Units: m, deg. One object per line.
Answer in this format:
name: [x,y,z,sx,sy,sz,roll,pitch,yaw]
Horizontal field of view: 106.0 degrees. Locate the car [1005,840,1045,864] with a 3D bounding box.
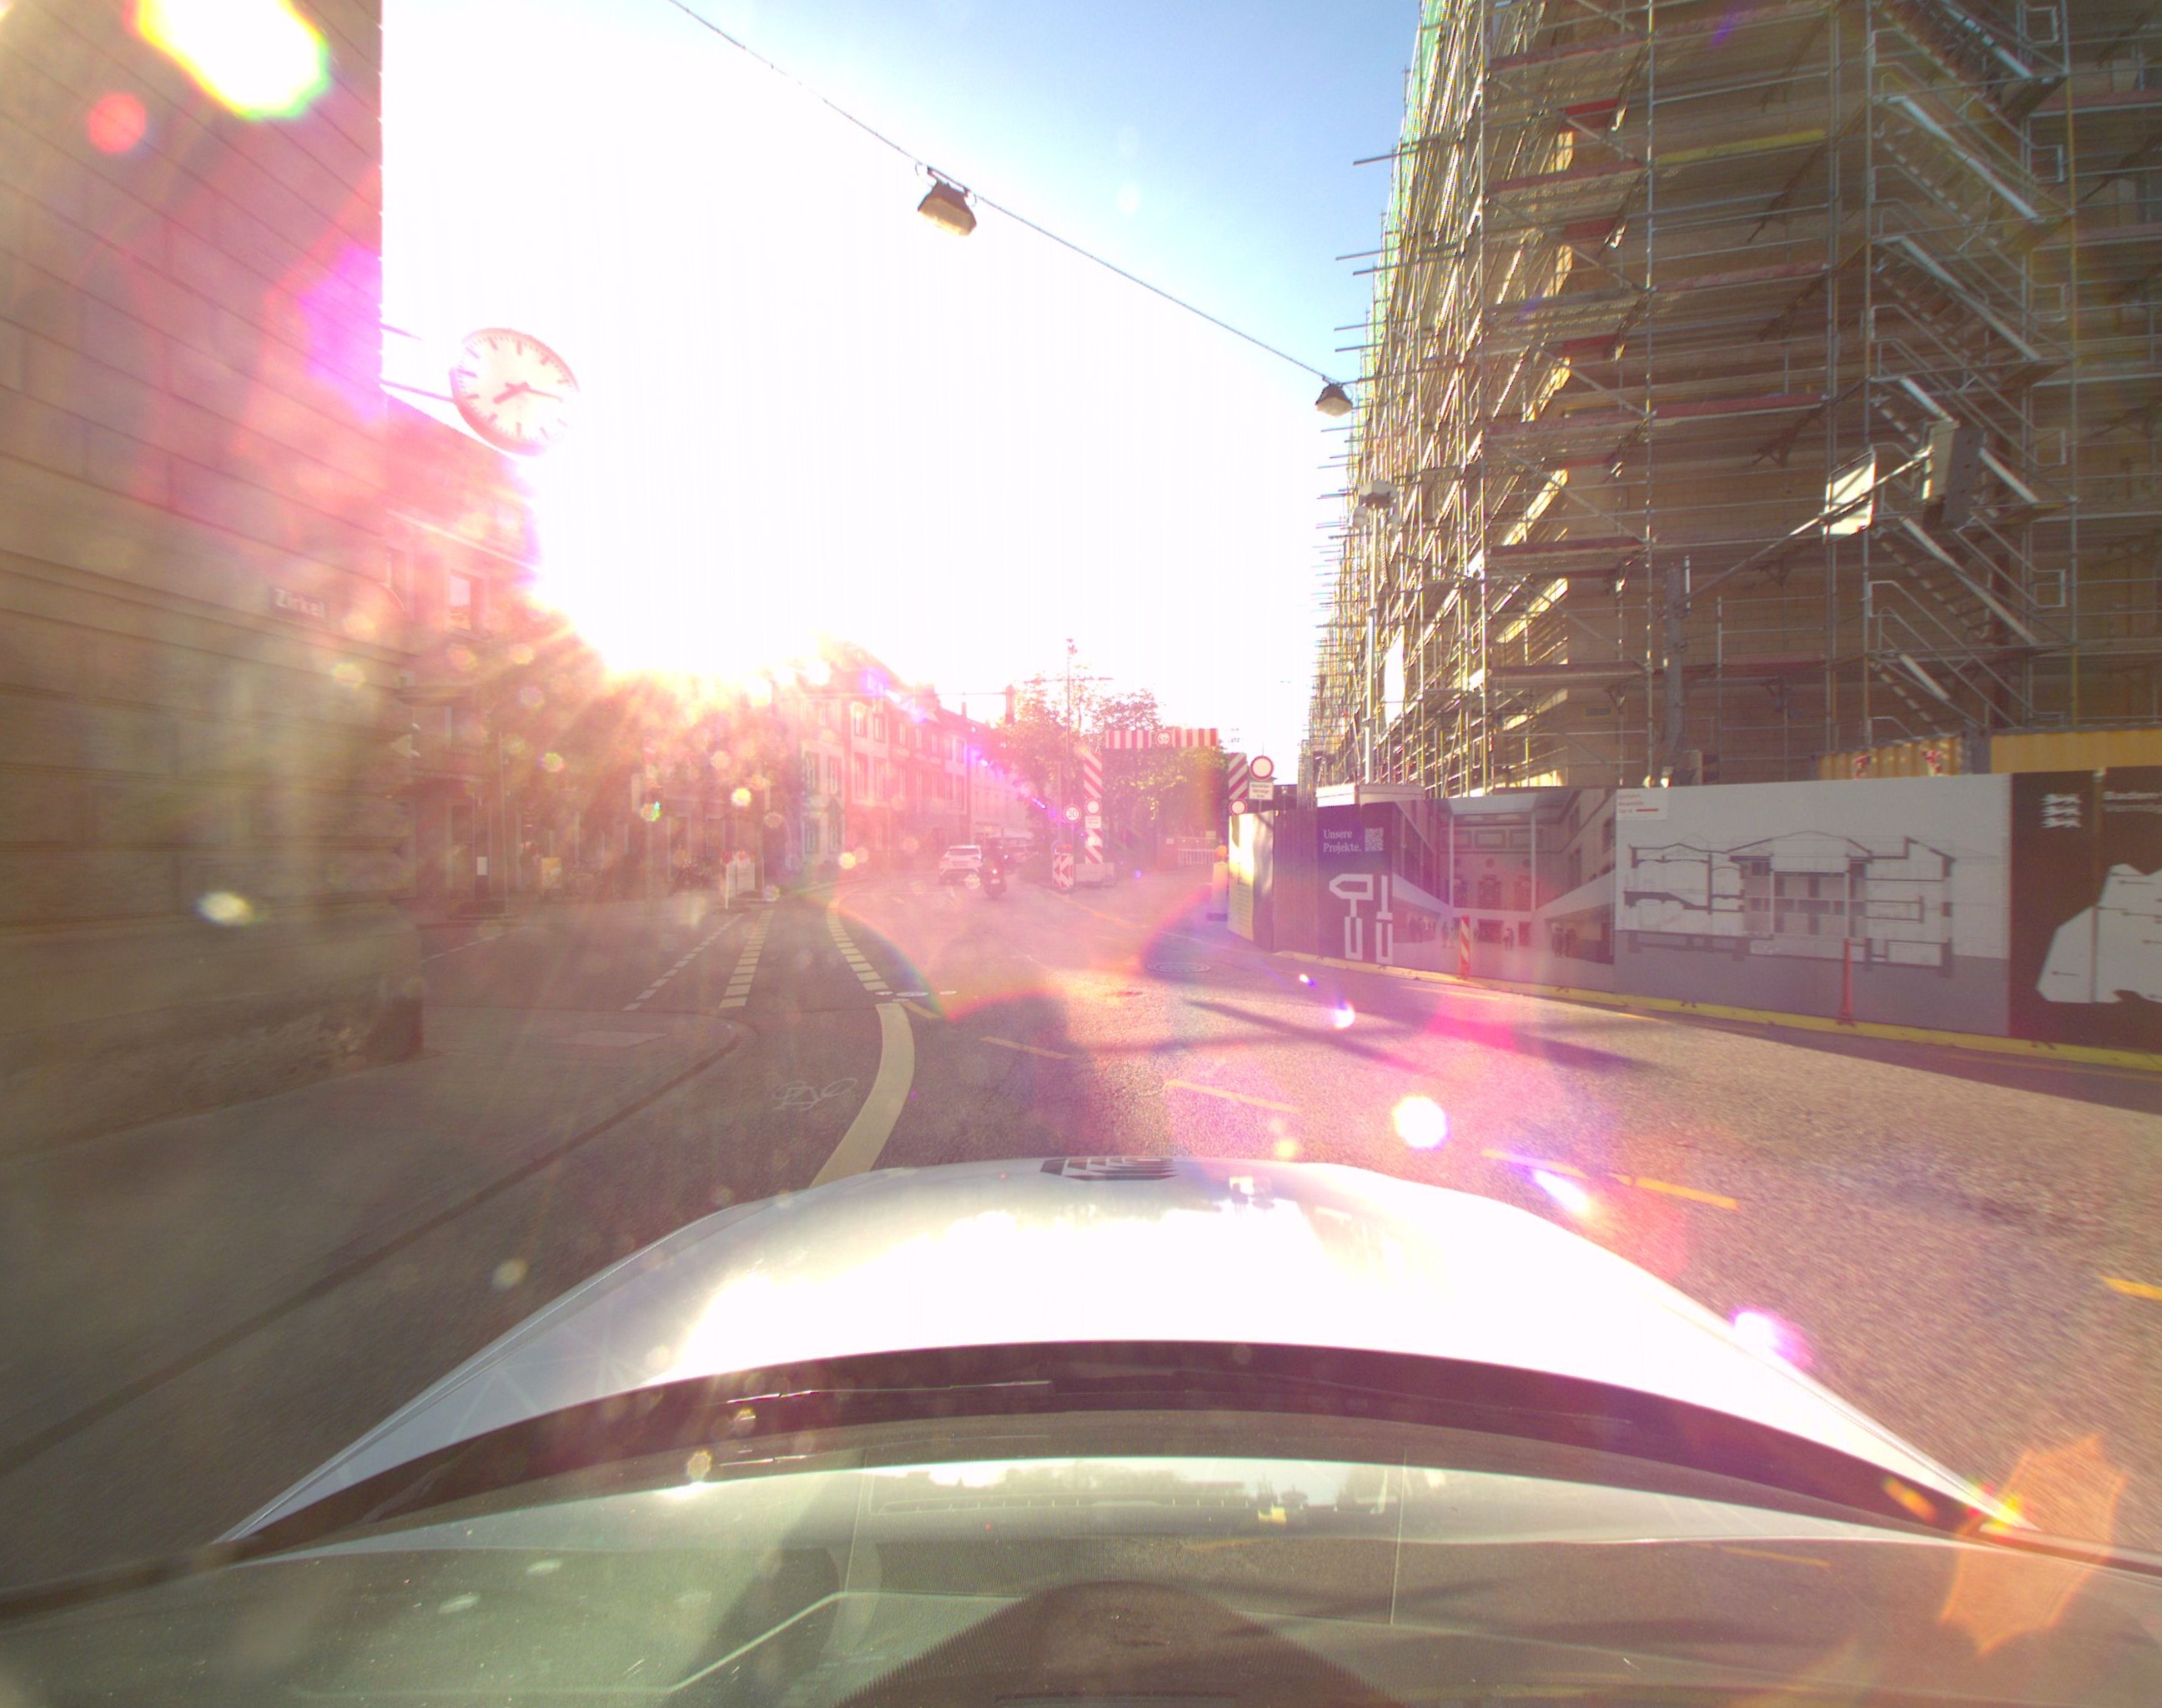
car: [-4.110,-0.147,60.264,1.827,1.713,4.072,0,1,13]

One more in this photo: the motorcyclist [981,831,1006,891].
motorcyclist: [-2.406,0.187,22.427,0.657,1.650,0.649,0,0,-8]

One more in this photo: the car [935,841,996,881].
car: [-4.455,0.233,31.969,1.845,1.480,4.056,0,1,-1]

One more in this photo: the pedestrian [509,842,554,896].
pedestrian: [-17.732,0.464,26.280,0.786,1.688,0.871,1,0,12]

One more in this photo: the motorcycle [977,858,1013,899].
motorcycle: [-2.373,0.652,22.363,0.797,1.066,1.718,0,1,-12]

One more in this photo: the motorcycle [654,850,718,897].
motorcycle: [-11.904,0.549,24.645,0.809,1.317,2.336,-1,1,-1]

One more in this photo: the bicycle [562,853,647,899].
bicycle: [-13.500,0.611,23.105,2.014,1.206,0.676,-2,0,-35]

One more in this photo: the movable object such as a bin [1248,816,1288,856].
movable object such as a bin: [22.463,-2.144,97.554,3.278,4.539,7.949,-1,0,23]

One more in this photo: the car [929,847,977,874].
car: [-7.421,0.350,47.605,1.831,1.463,4.064,0,1,5]
